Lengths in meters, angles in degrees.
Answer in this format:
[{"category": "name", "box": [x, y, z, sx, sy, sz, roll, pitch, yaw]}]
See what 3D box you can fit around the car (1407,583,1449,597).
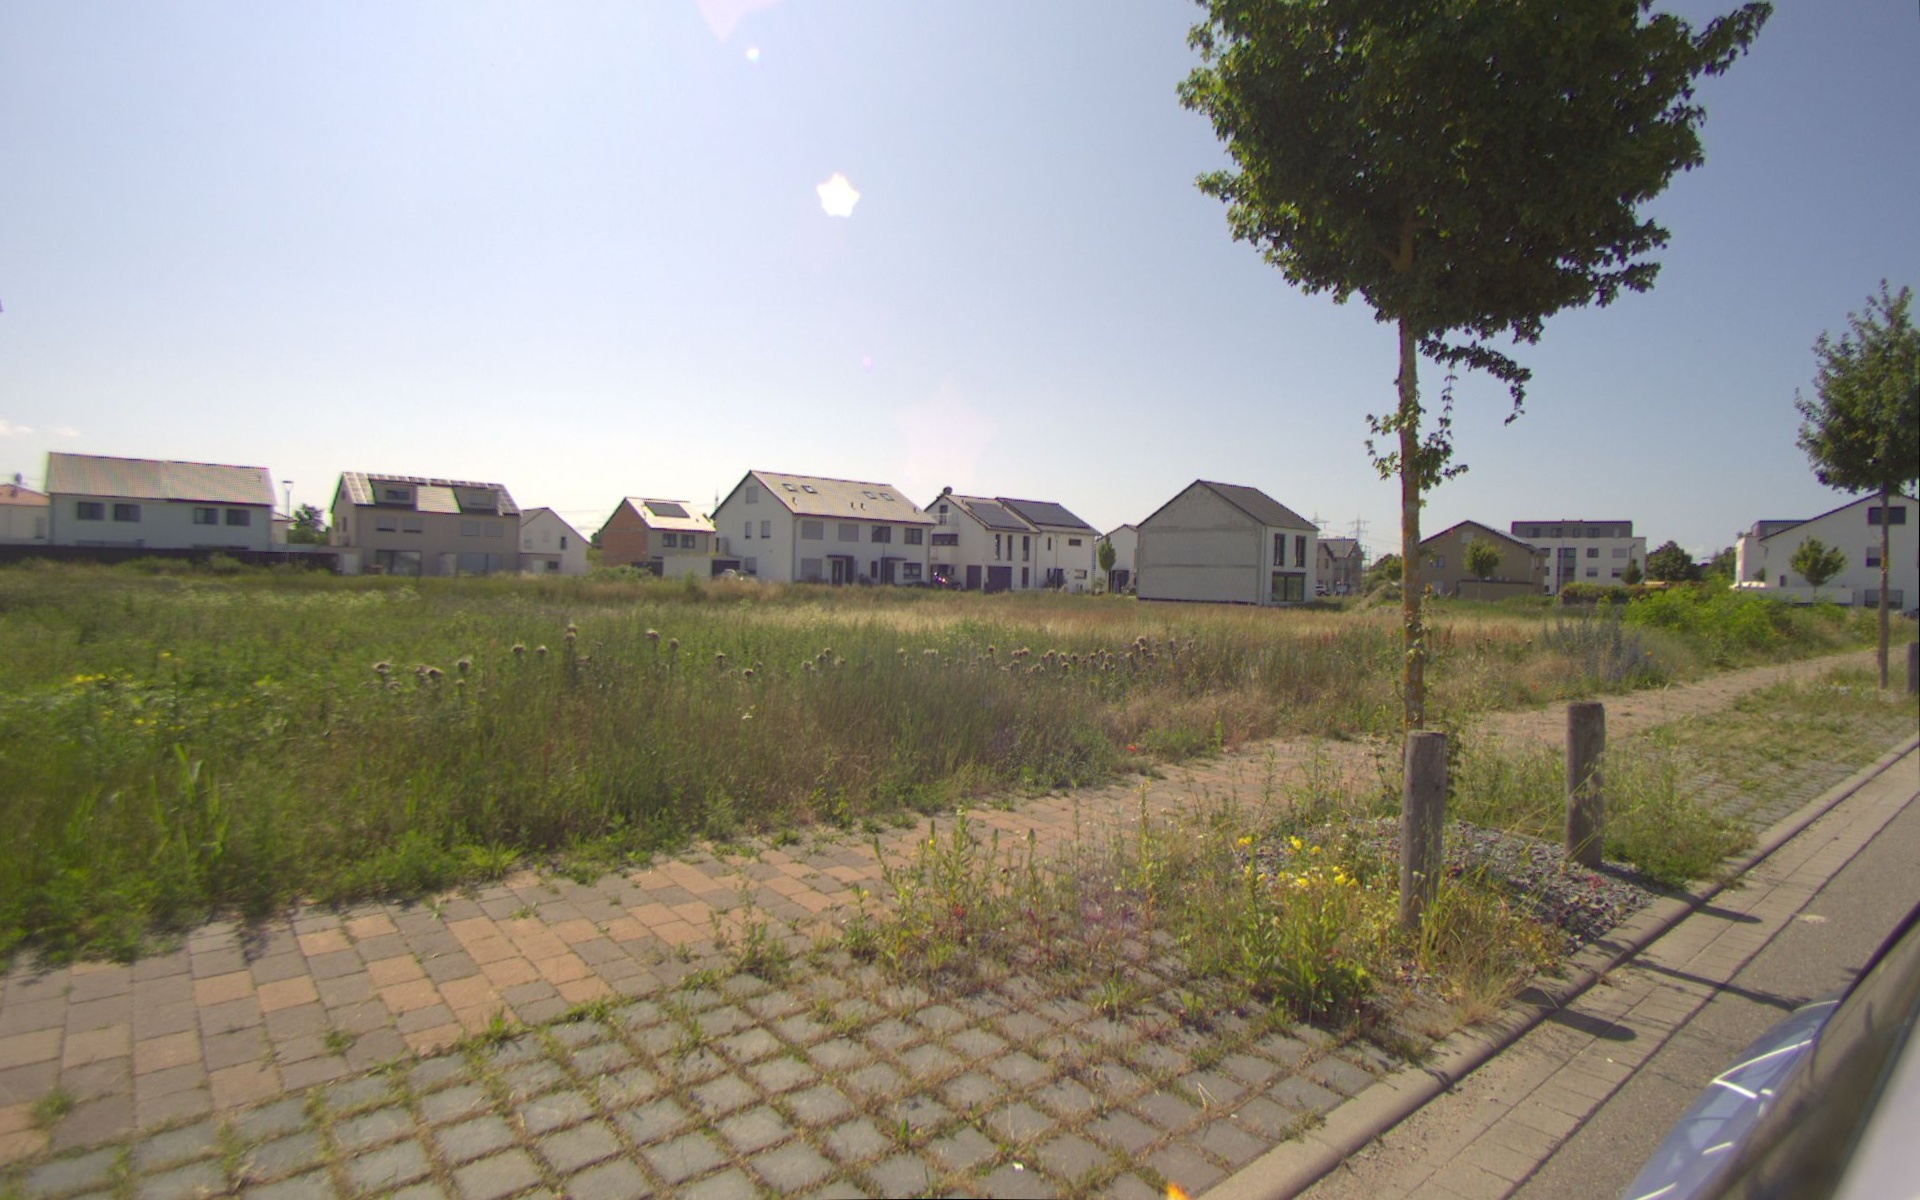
[{"category": "car", "box": [52.282, -1.140, 113.059, 3.984, 1.471, 1.610, 2, 1, 41]}]
